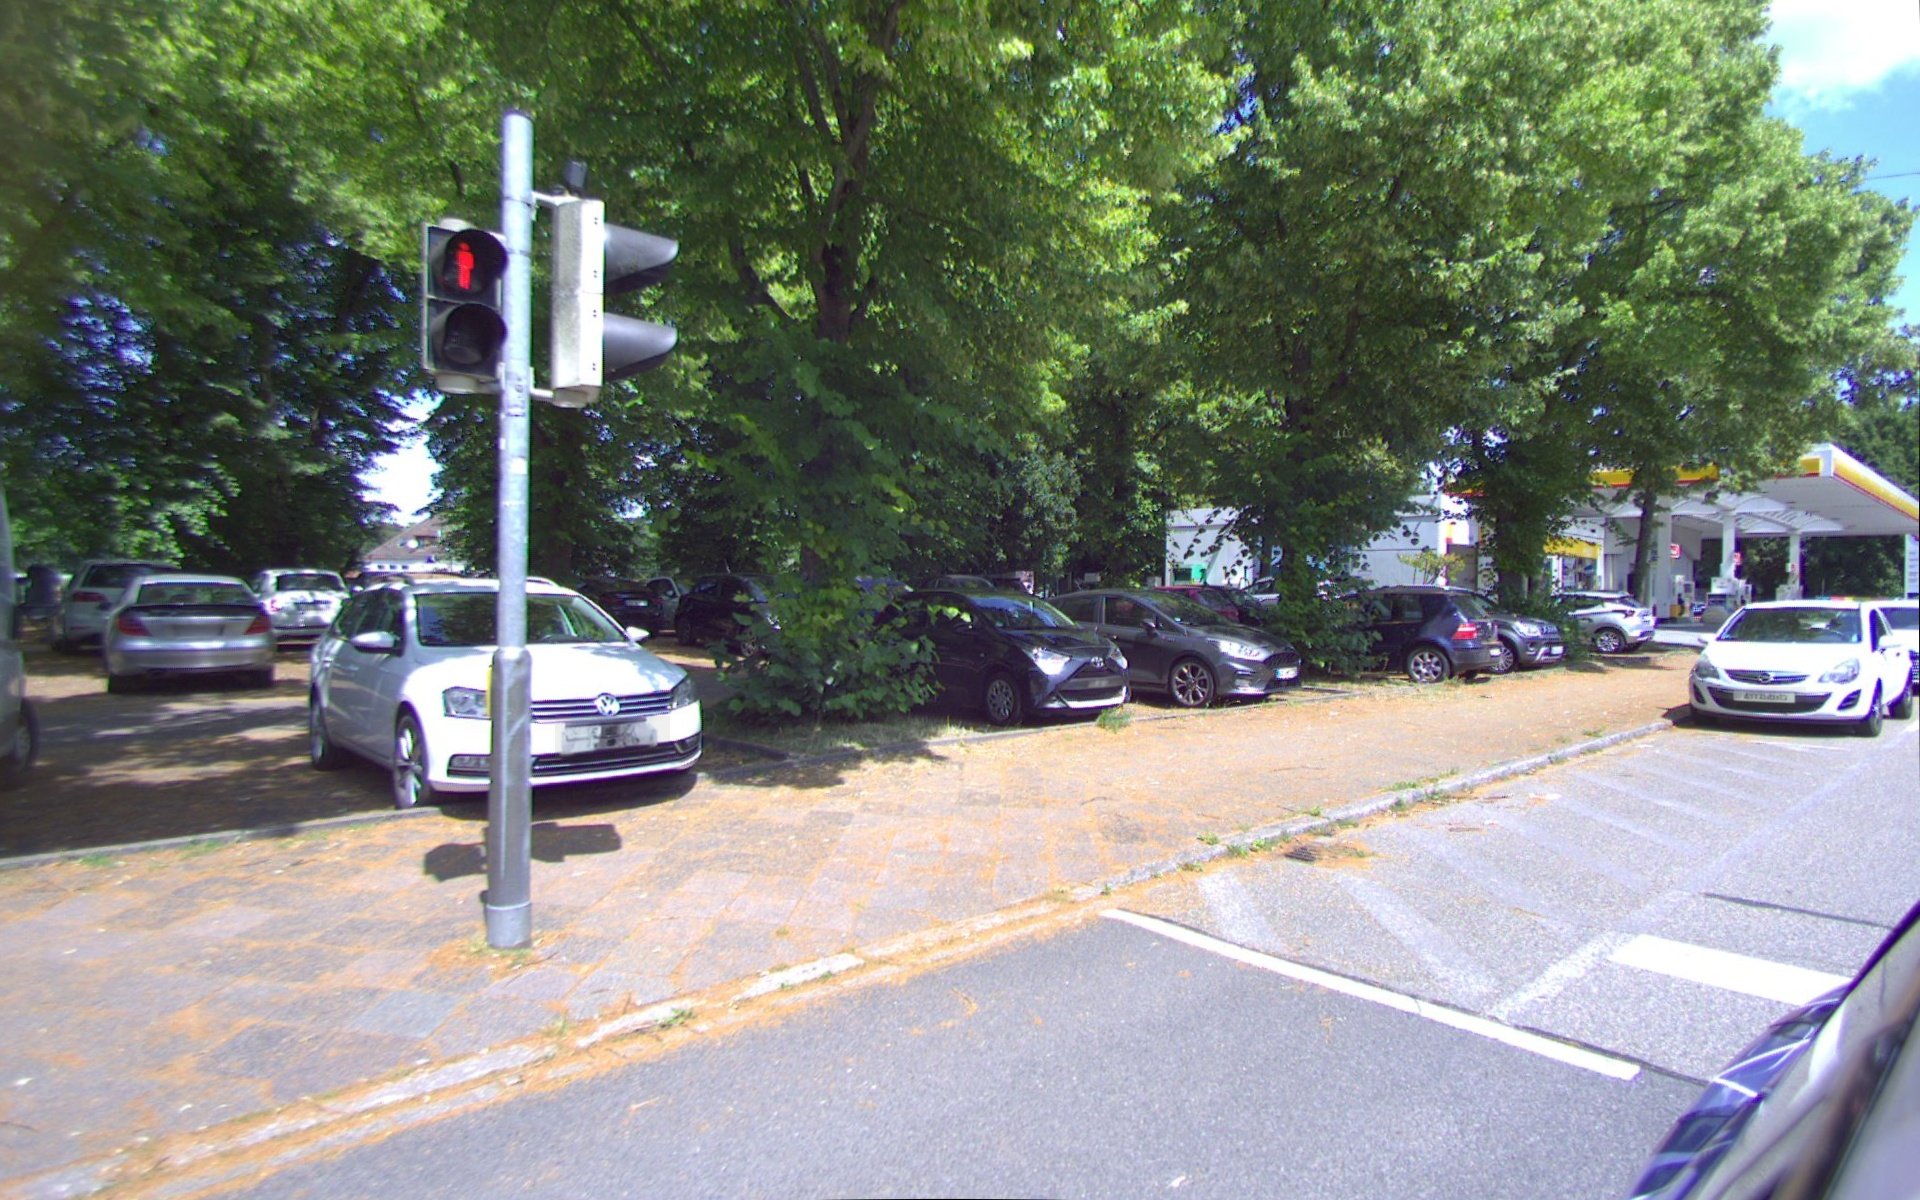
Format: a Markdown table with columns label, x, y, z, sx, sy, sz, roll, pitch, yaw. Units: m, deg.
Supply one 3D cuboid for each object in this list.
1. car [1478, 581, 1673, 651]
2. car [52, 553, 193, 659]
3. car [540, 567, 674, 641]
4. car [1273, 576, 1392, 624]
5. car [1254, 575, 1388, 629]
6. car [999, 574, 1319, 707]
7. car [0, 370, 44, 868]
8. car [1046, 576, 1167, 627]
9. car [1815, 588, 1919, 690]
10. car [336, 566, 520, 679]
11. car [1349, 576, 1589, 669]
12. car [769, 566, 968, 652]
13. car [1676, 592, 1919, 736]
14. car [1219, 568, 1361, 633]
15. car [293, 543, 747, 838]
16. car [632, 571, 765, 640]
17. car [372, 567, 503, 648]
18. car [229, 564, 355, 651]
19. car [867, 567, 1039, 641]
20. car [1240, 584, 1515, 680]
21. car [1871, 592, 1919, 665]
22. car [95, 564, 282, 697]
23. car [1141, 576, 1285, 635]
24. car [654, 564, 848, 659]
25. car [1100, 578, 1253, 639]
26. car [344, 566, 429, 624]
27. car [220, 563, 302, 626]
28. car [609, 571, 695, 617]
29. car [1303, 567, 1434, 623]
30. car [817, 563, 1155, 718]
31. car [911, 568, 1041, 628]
| label | x | y | z | sx | sy | sz | roll | pitch | yaw |
| --- | --- | --- | --- | --- | --- | --- | --- | --- | --- |
| car | 15.026 | 0.338 | 24.811 | 1.823 | 1.546 | 3.755 | 0 | 1 | -44 |
| car | -14.302 | 0.024 | 17.402 | 1.706 | 1.607 | 3.808 | 0 | 2 | -38 |
| car | -7.973 | 0.025 | 22.667 | 1.706 | 1.483 | 3.808 | 0 | 2 | -38 |
| car | 13.884 | -0.035 | 37.799 | 1.710 | 1.637 | 3.800 | 0 | 2 | -45 |
| car | 11.866 | 0.025 | 33.383 | 1.710 | 1.637 | 3.800 | 0 | 2 | -45 |
| car | 2.519 | 0.455 | 13.589 | 1.609 | 1.512 | 4.073 | 0 | 0 | -42 |
| car | -6.401 | 0.133 | 5.402 | 2.069 | 2.305 | 4.610 | 0 | -1 | -40 |
| car | 4.946 | -0.005 | 34.447 | 1.710 | 1.582 | 3.800 | 0 | 2 | -45 |
| car | 15.926 | 0.581 | 16.941 | 4.134 | 1.544 | 1.866 | 0 | 0 | -41 |
| car | -8.311 | 0.244 | 15.636 | 1.772 | 1.491 | 3.997 | 0 | 2 | -39 |
| car | 9.420 | 0.370 | 19.030 | 1.597 | 1.555 | 3.773 | 0 | 0 | -30 |
| car | -2.009 | 0.112 | 21.363 | 4.251 | 1.607 | 1.791 | 2 | 2 | 43 |
| car | 10.292 | 0.650 | 12.216 | 4.038 | 1.461 | 1.720 | 0 | -1 | -40 |
| car | 10.305 | -0.040 | 31.768 | 1.901 | 1.873 | 3.800 | 0 | 2 | -45 |
| car | -3.452 | 0.494 | 7.417 | 1.778 | 1.513 | 4.330 | 0 | -1 | -42 |
| car | -6.373 | 0.076 | 24.389 | 1.706 | 1.483 | 3.808 | 0 | 2 | -38 |
| car | -10.833 | 0.099 | 20.864 | 1.706 | 1.511 | 3.807 | 0 | 1 | -38 |
| car | -12.872 | 0.069 | 19.412 | 1.706 | 1.483 | 3.808 | 0 | 2 | -38 |
| car | -0.224 | 0.039 | 23.489 | 3.947 | 1.540 | 1.710 | 2 | 2 | 45 |
| car | 6.678 | 0.452 | 16.398 | 3.832 | 1.375 | 1.606 | 0 | 0 | 41 |
| car | 20.366 | 0.558 | 21.013 | 3.280 | 1.461 | 1.774 | 0 | 0 | -41 |
| car | -10.410 | 0.287 | 13.633 | 1.772 | 1.491 | 3.997 | 0 | 2 | -39 |
| car | 7.423 | 0.125 | 29.888 | 3.799 | 1.603 | 1.710 | 2 | 1 | 45 |
| car | -4.139 | 0.144 | 19.588 | 1.788 | 1.607 | 4.259 | 0 | 2 | -42 |
| car | 5.914 | 0.183 | 27.886 | 1.710 | 1.483 | 3.800 | 0 | 2 | -45 |
| car | -16.693 | -0.183 | 29.362 | 1.705 | 1.587 | 3.809 | 0 | 1 | -37 |
| car | -19.017 | -0.189 | 27.477 | 1.705 | 1.587 | 3.809 | 0 | 1 | -37 |
| car | -10.458 | -0.240 | 34.213 | 1.705 | 1.429 | 3.811 | 0 | 1 | -34 |
| car | 15.848 | -0.248 | 39.427 | 1.825 | 2.022 | 4.365 | 0 | 2 | -45 |
| car | 0.142 | 0.419 | 11.907 | 1.609 | 1.513 | 4.072 | 0 | -1 | -42 |
| car | 0.434 | -0.093 | 30.266 | 1.710 | 1.645 | 3.800 | 0 | 2 | -45 |
